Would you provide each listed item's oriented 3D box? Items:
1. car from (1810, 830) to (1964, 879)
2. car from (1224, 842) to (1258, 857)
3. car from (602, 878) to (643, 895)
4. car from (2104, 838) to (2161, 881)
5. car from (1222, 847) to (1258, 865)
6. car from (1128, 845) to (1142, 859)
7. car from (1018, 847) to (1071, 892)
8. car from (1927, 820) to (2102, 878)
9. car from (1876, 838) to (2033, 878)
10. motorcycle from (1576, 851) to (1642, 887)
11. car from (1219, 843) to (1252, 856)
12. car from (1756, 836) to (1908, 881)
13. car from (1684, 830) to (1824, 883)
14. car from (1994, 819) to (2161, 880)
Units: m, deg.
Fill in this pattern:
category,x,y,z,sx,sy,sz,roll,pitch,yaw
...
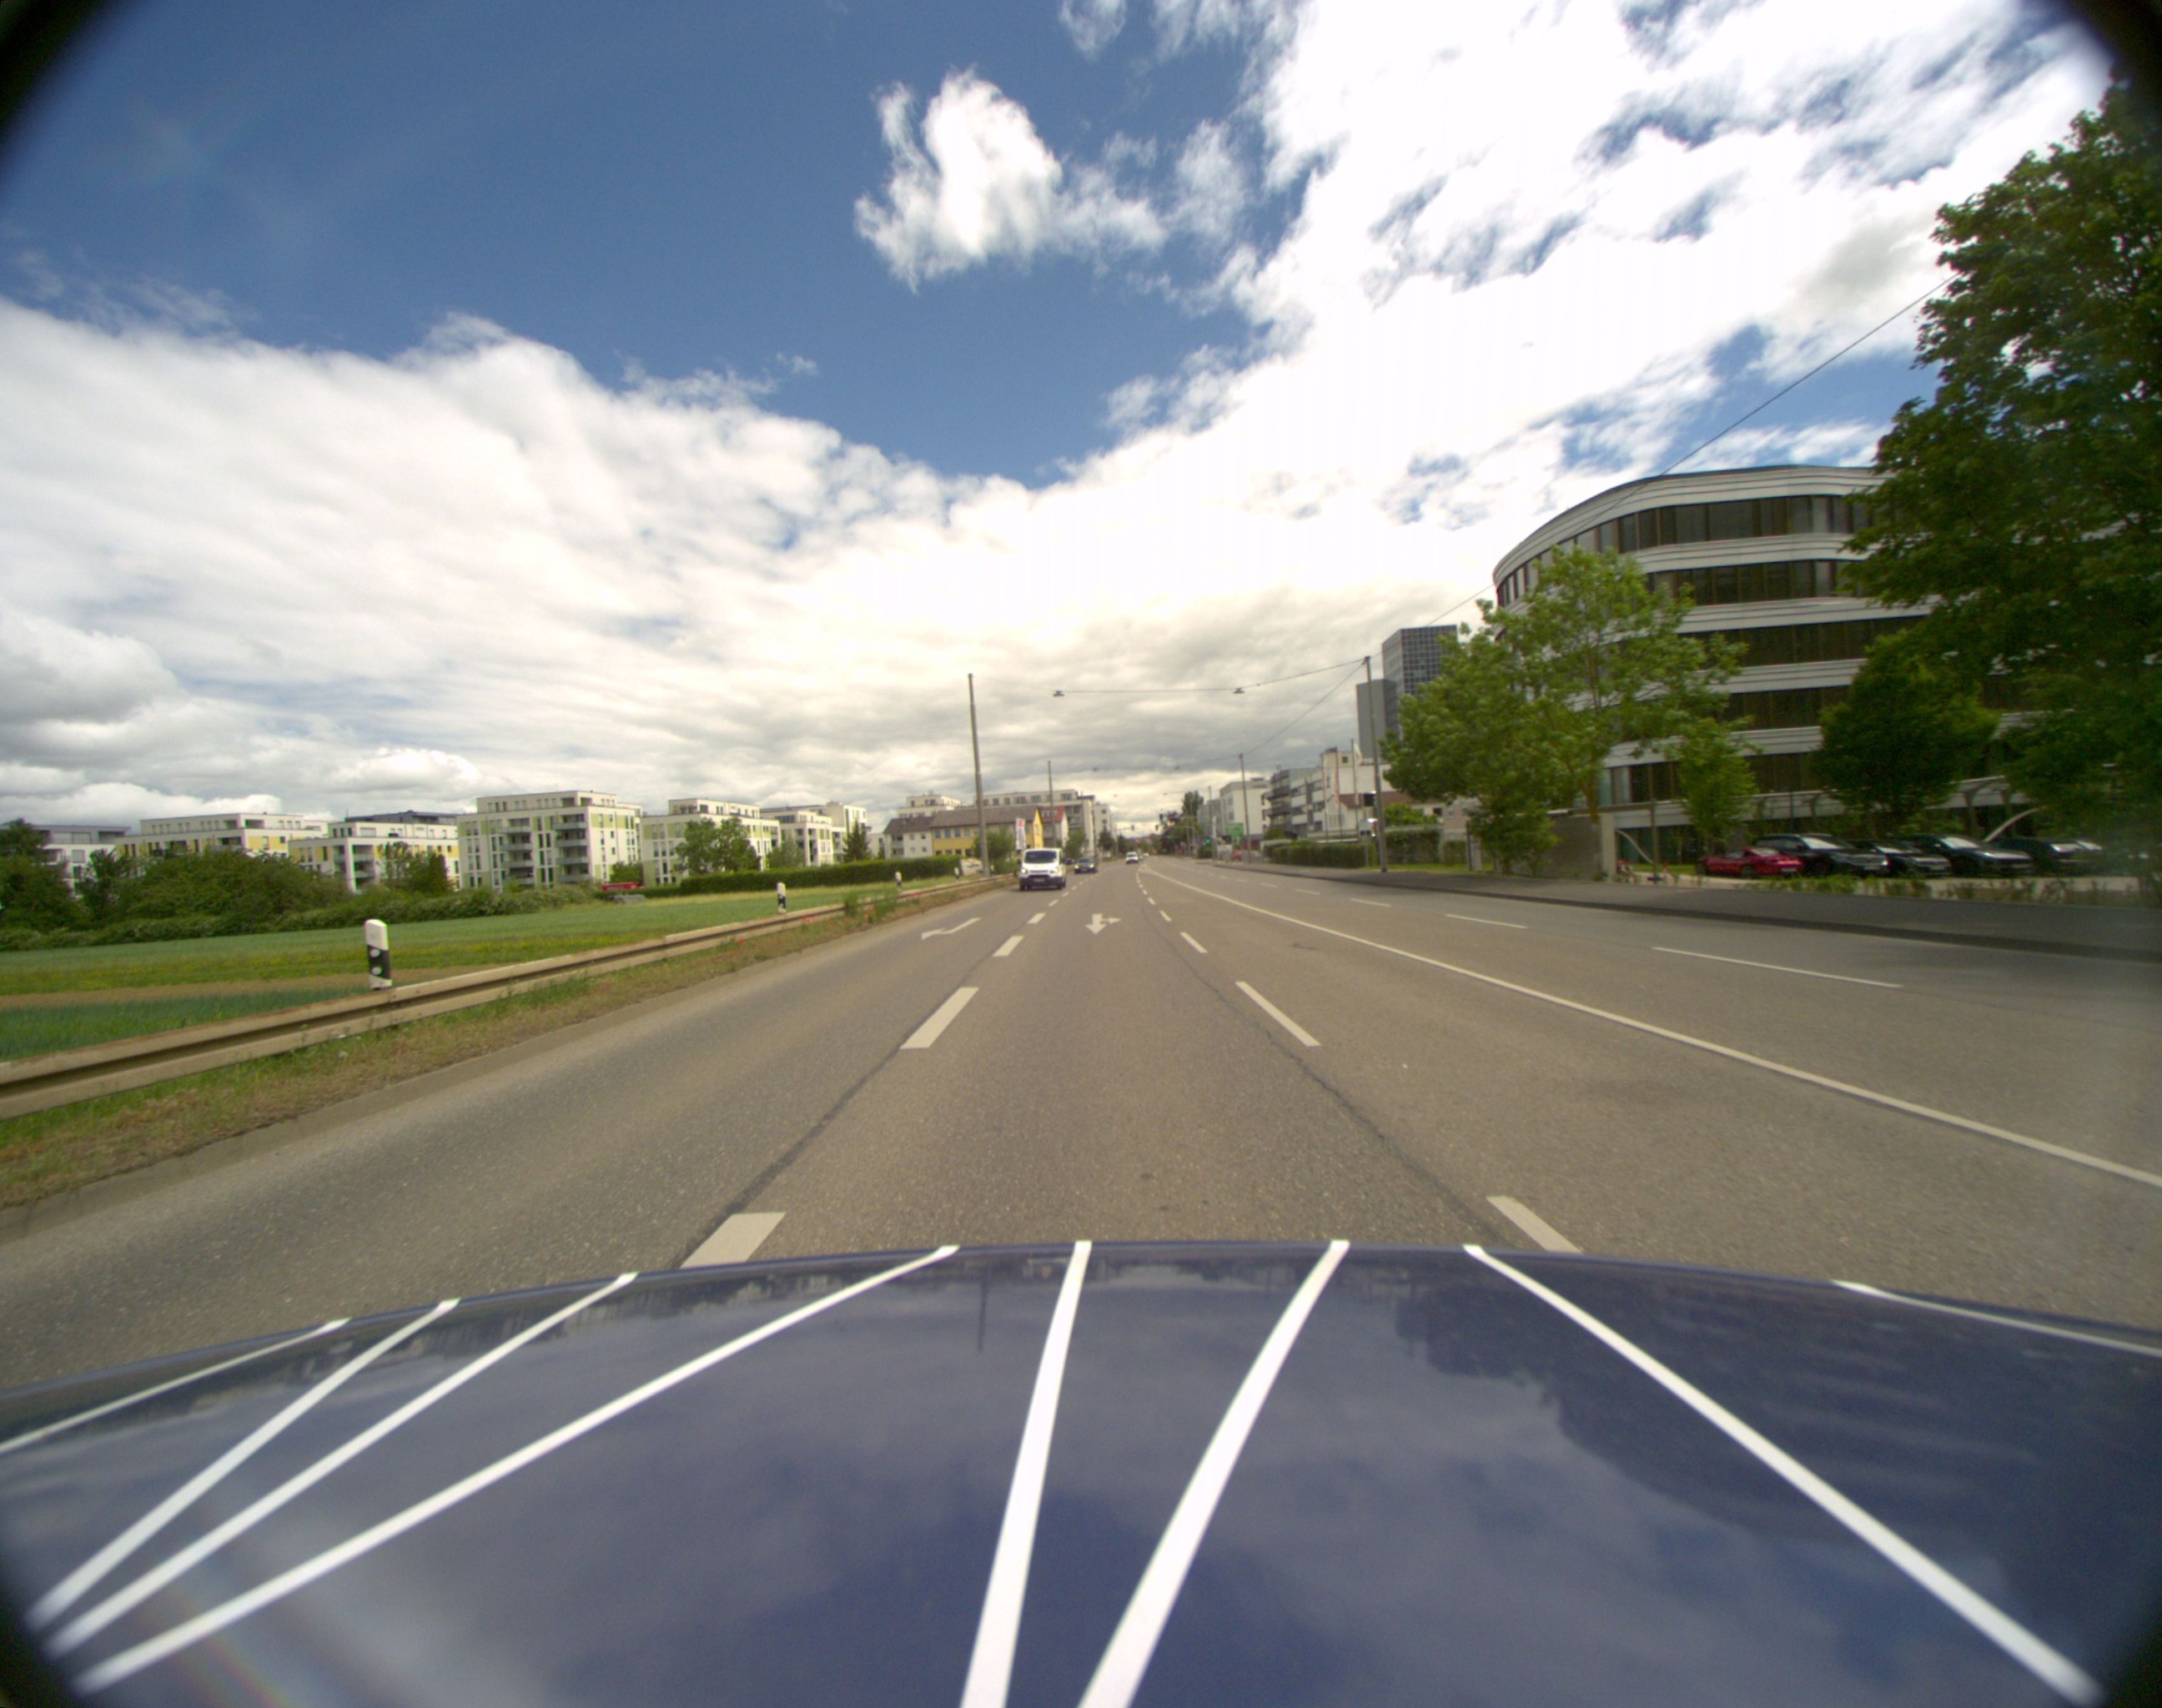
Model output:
category,x,y,z,sx,sy,sz,roll,pitch,yaw
car,31.584,0.002,29.950,1.824,1.713,3.999,-3,1,1
car,19.713,-0.513,93.628,3.801,1.602,1.836,-3,0,1
car,-64.005,4.556,106.107,4.437,2.002,1.999,-3,1,0
car,43.924,0.226,29.904,1.845,1.607,4.039,-3,1,1
car,20.075,0.286,96.003,3.996,2.002,1.920,-3,1,2
car,8.314,-0.351,117.354,1.800,2.002,3.999,-3,1,1
car,-1.689,0.676,37.452,1.998,1.907,5.882,-3,1,2
car,36.513,-0.206,29.902,1.933,2.015,3.999,-3,1,1
car,33.858,0.109,29.629,1.525,1.368,3.999,-3,1,1
motorcycle,19.629,0.545,28.271,1.905,1.237,0.745,-3,1,-1
car,20.554,-0.550,101.286,3.996,1.324,1.824,-5,0,2
car,29.020,0.127,29.563,1.998,1.609,3.999,0,1,1
car,26.667,0.029,30.301,1.868,1.784,3.996,-3,3,-4
car,39.034,-0.264,29.646,1.998,2.003,3.997,-3,4,1
